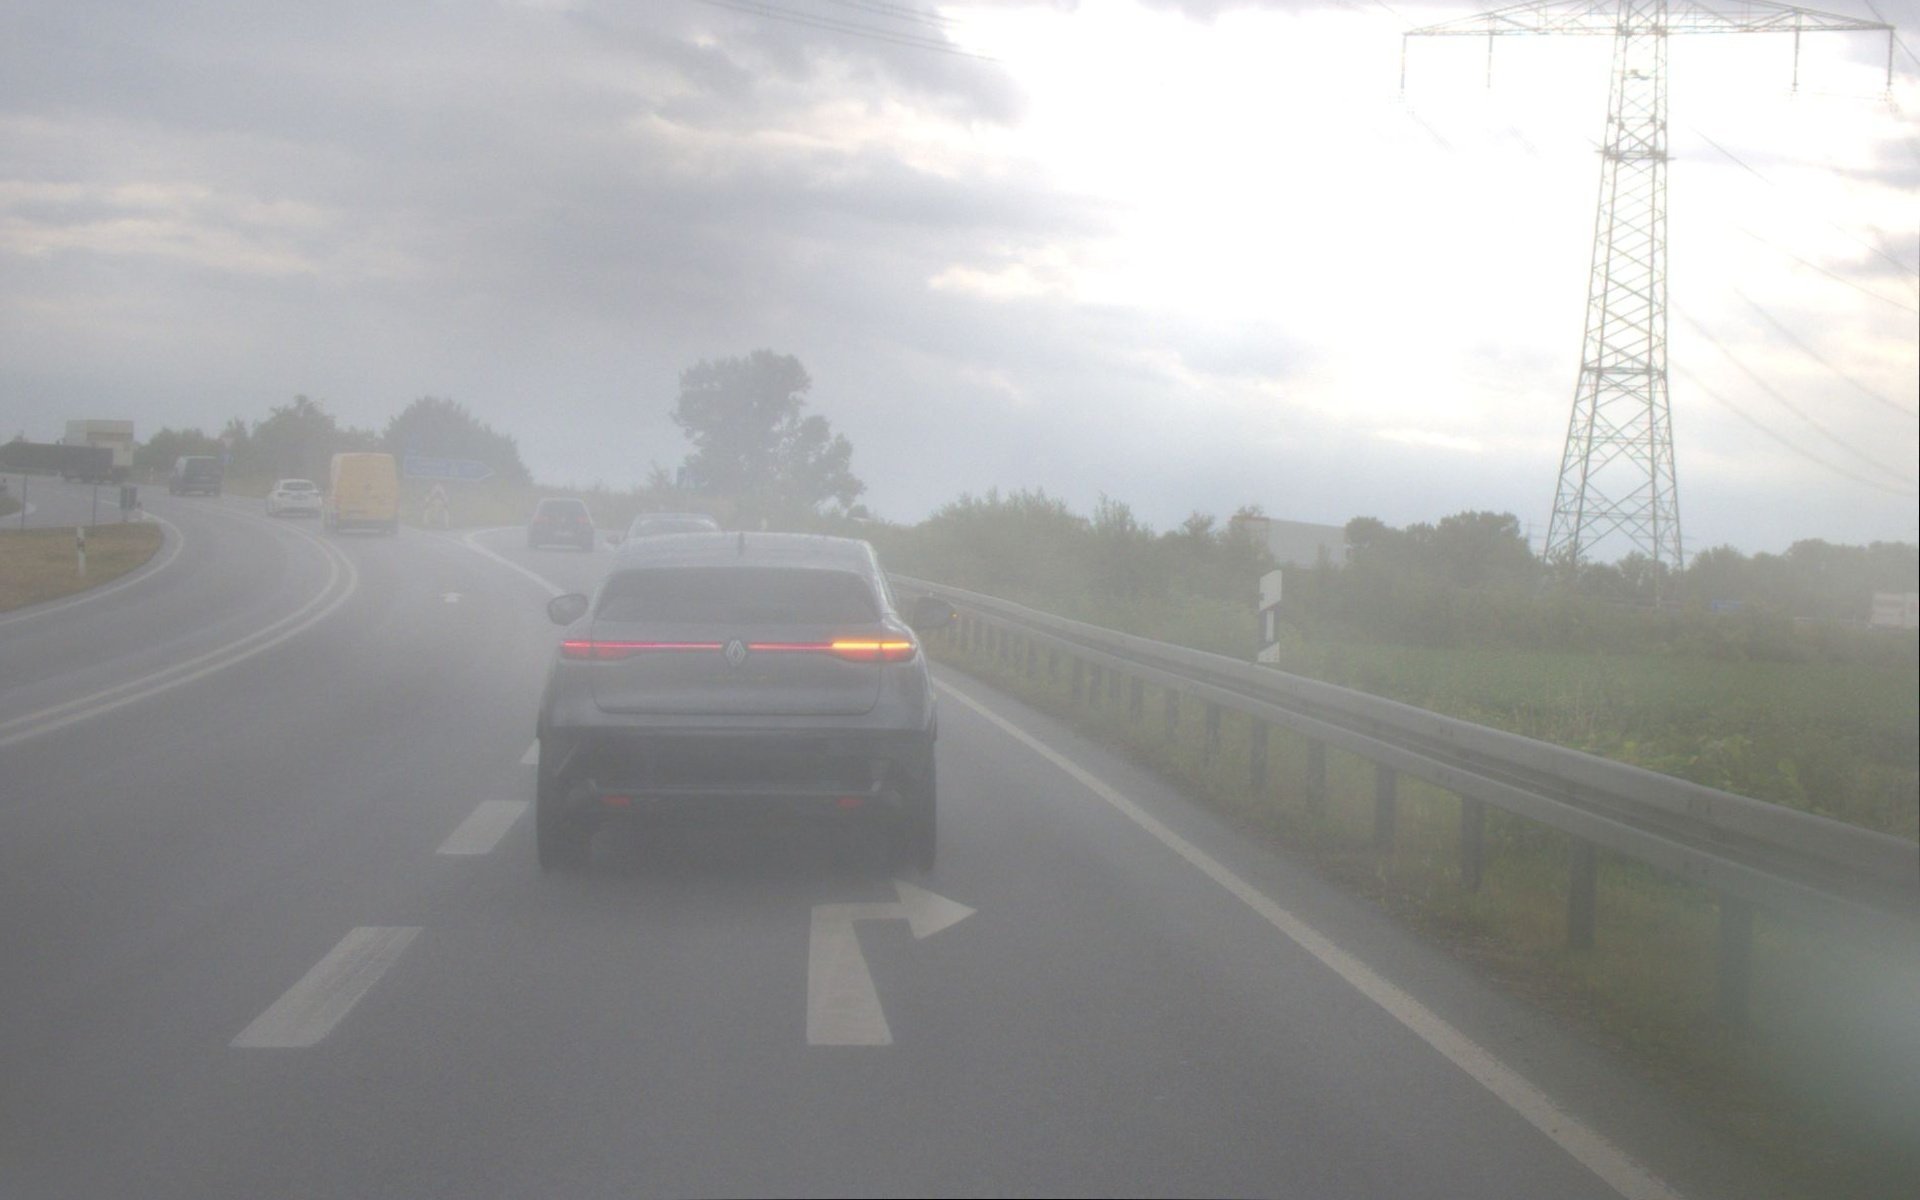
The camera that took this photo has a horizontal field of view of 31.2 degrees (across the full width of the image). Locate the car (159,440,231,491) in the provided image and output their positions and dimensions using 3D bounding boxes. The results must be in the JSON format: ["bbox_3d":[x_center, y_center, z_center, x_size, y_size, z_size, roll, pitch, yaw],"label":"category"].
[{"bbox_3d":[-37.412,-6.565,168.119,2.601,2.243,5.536,1,0,-21],"label":"car"}]

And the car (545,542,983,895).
[{"bbox_3d":[-0.948,0.464,16.265,1.791,1.436,4.001,1,1,-4],"label":"car"}]

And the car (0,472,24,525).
[{"bbox_3d":[-31.158,-3.264,107.424,1.982,1.598,3.913,3,0,14],"label":"car"}]

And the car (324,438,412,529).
[{"bbox_3d":[-18.679,-3.691,108.221,2.572,2.716,7.199,1,2,-11],"label":"car"}]

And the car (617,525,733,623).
[{"bbox_3d":[-4.756,-0.464,57.511,1.791,1.436,4.001,3,2,-4],"label":"car"}]

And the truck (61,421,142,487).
[{"bbox_3d":[-48.111,-8.140,192.446,3.045,3.373,7.646,2,0,-24],"label":"truck"}]

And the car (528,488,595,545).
[{"bbox_3d":[-11.096,-2.339,95.806,1.791,1.536,4.001,1,2,-6],"label":"car"}]

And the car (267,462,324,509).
[{"bbox_3d":[-25.069,-4.323,129.688,1.791,1.682,4.002,1,2,-15],"label":"car"}]
